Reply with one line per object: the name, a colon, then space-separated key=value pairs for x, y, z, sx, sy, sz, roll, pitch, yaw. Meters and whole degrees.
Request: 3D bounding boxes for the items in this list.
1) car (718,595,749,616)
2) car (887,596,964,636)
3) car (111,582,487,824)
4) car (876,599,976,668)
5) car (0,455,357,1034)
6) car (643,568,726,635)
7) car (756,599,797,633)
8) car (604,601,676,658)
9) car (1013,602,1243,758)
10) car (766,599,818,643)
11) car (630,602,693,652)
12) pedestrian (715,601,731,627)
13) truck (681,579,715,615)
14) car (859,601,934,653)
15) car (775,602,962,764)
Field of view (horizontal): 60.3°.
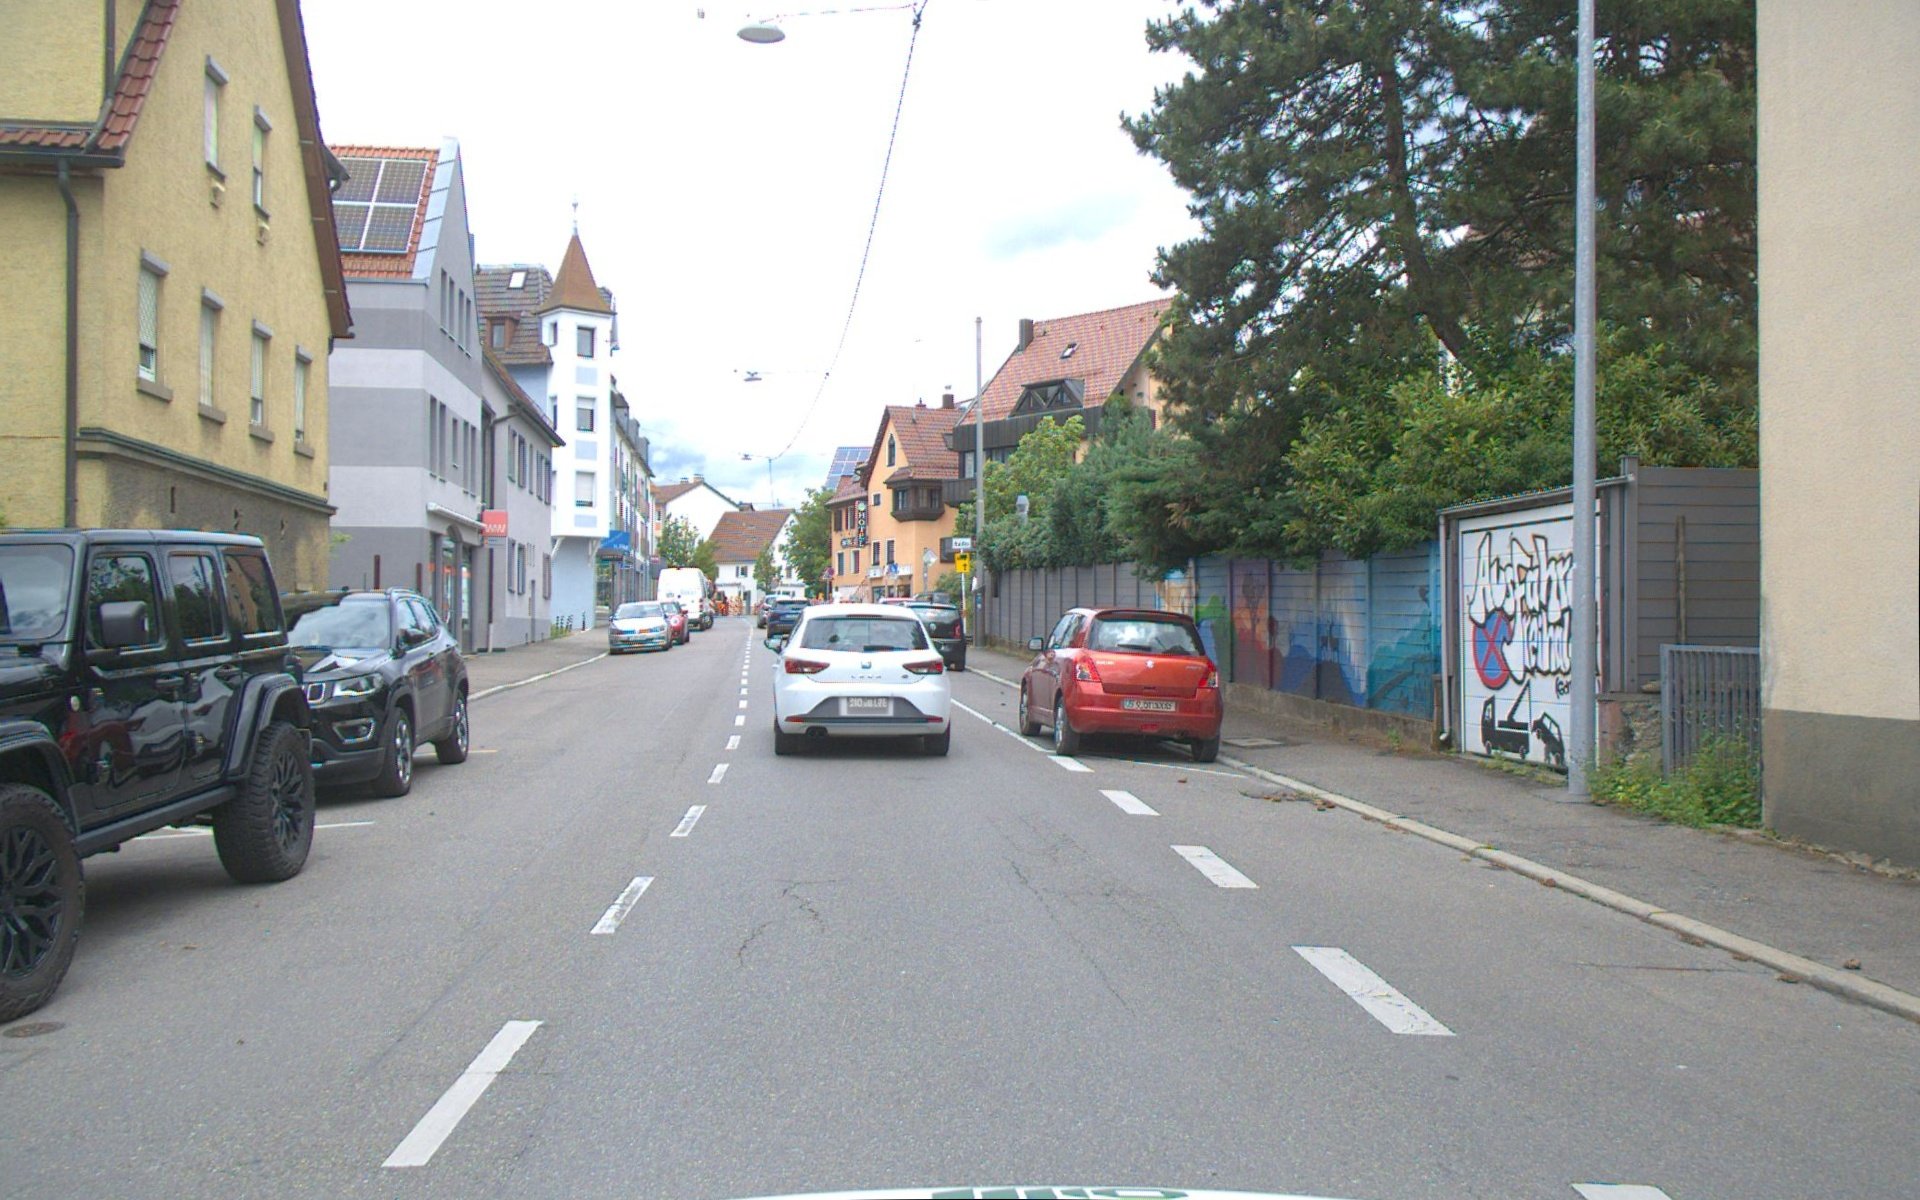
car: x=-18.593 y=0.442 z=136.186 sx=1.756 sy=1.731 sz=4.002 roll=0 pitch=0 yaw=4
car: x=-1.429 y=0.652 z=68.119 sx=2.764 sy=1.538 sz=1.700 roll=1 pitch=1 yaw=-18
car: x=-5.452 y=0.721 z=14.318 sx=1.861 sy=1.647 sz=4.519 roll=-2 pitch=1 yaw=-7
car: x=-0.837 y=0.719 z=37.705 sx=1.726 sy=1.477 sz=3.991 roll=0 pitch=0 yaw=-10
car: x=-4.506 y=0.536 z=7.574 sx=1.954 sy=2.048 sz=4.667 roll=-3 pitch=0 yaw=-4
car: x=-11.820 y=0.044 z=71.257 sx=2.107 sy=2.734 sz=5.548 roll=1 pitch=0 yaw=6
car: x=-8.214 y=0.708 z=73.859 sx=1.725 sy=1.477 sz=3.993 roll=0 pitch=0 yaw=-7
car: x=-9.463 y=0.842 z=49.117 sx=1.765 sy=1.505 sz=4.044 roll=-3 pitch=0 yaw=-7
car: x=1.711 y=0.793 z=18.177 sx=1.724 sy=1.477 sz=3.995 roll=2 pitch=0 yaw=-6
car: x=-5.820 y=0.697 z=57.171 sx=1.725 sy=1.477 sz=3.994 roll=0 pitch=0 yaw=-7
car: x=-9.841 y=0.866 z=54.730 sx=1.765 sy=1.505 sz=4.044 roll=-3 pitch=0 yaw=-7
pedestrian: x=-18.622 y=1.071 z=130.106 sx=1.204 sy=2.049 sz=1.174 roll=0 pitch=0 yaw=-7
truck: x=-18.956 y=-0.220 z=119.765 sx=2.111 sy=2.502 sz=5.387 roll=1 pitch=0 yaw=-6
car: x=-1.920 y=0.769 z=48.890 sx=1.726 sy=1.477 sz=3.991 roll=0 pitch=0 yaw=-10
car: x=-1.059 y=0.762 z=17.242 sx=1.725 sy=1.477 sz=3.994 roll=0 pitch=0 yaw=-7
